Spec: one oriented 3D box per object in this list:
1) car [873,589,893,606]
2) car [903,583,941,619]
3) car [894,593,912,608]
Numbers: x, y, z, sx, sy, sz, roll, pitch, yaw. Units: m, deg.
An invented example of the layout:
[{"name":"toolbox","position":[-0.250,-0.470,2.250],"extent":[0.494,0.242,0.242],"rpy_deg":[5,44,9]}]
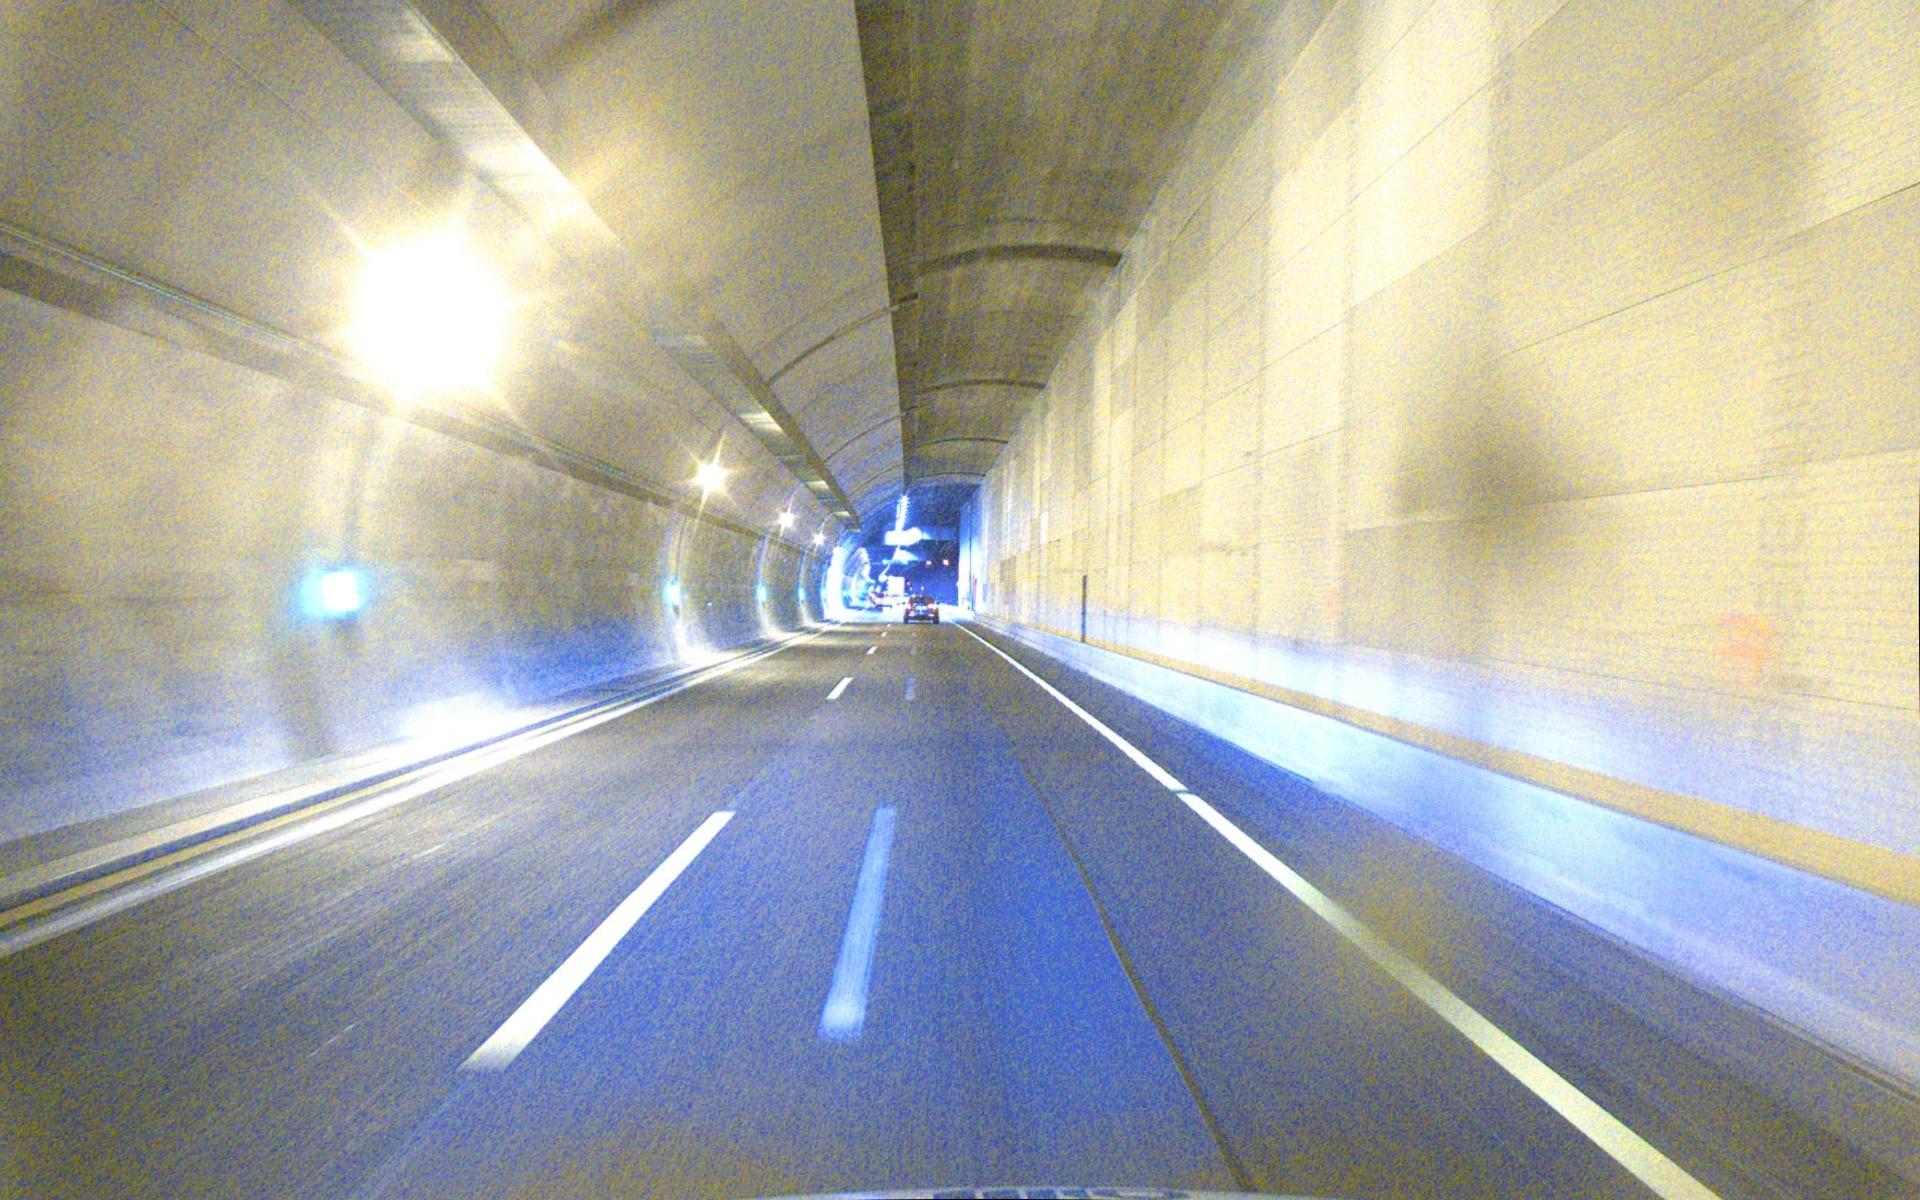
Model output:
[{"name":"car","position":[-7.678,-0.257,165.216],"extent":[1.891,1.716,3.999],"rpy_deg":[0,0,-1]},{"name":"car","position":[-1.981,0.033,85.509],"extent":[1.907,1.826,3.999],"rpy_deg":[0,0,-2]},{"name":"car","position":[-6.762,0.017,196.252],"extent":[1.890,1.716,4.001],"rpy_deg":[0,0,1]}]
